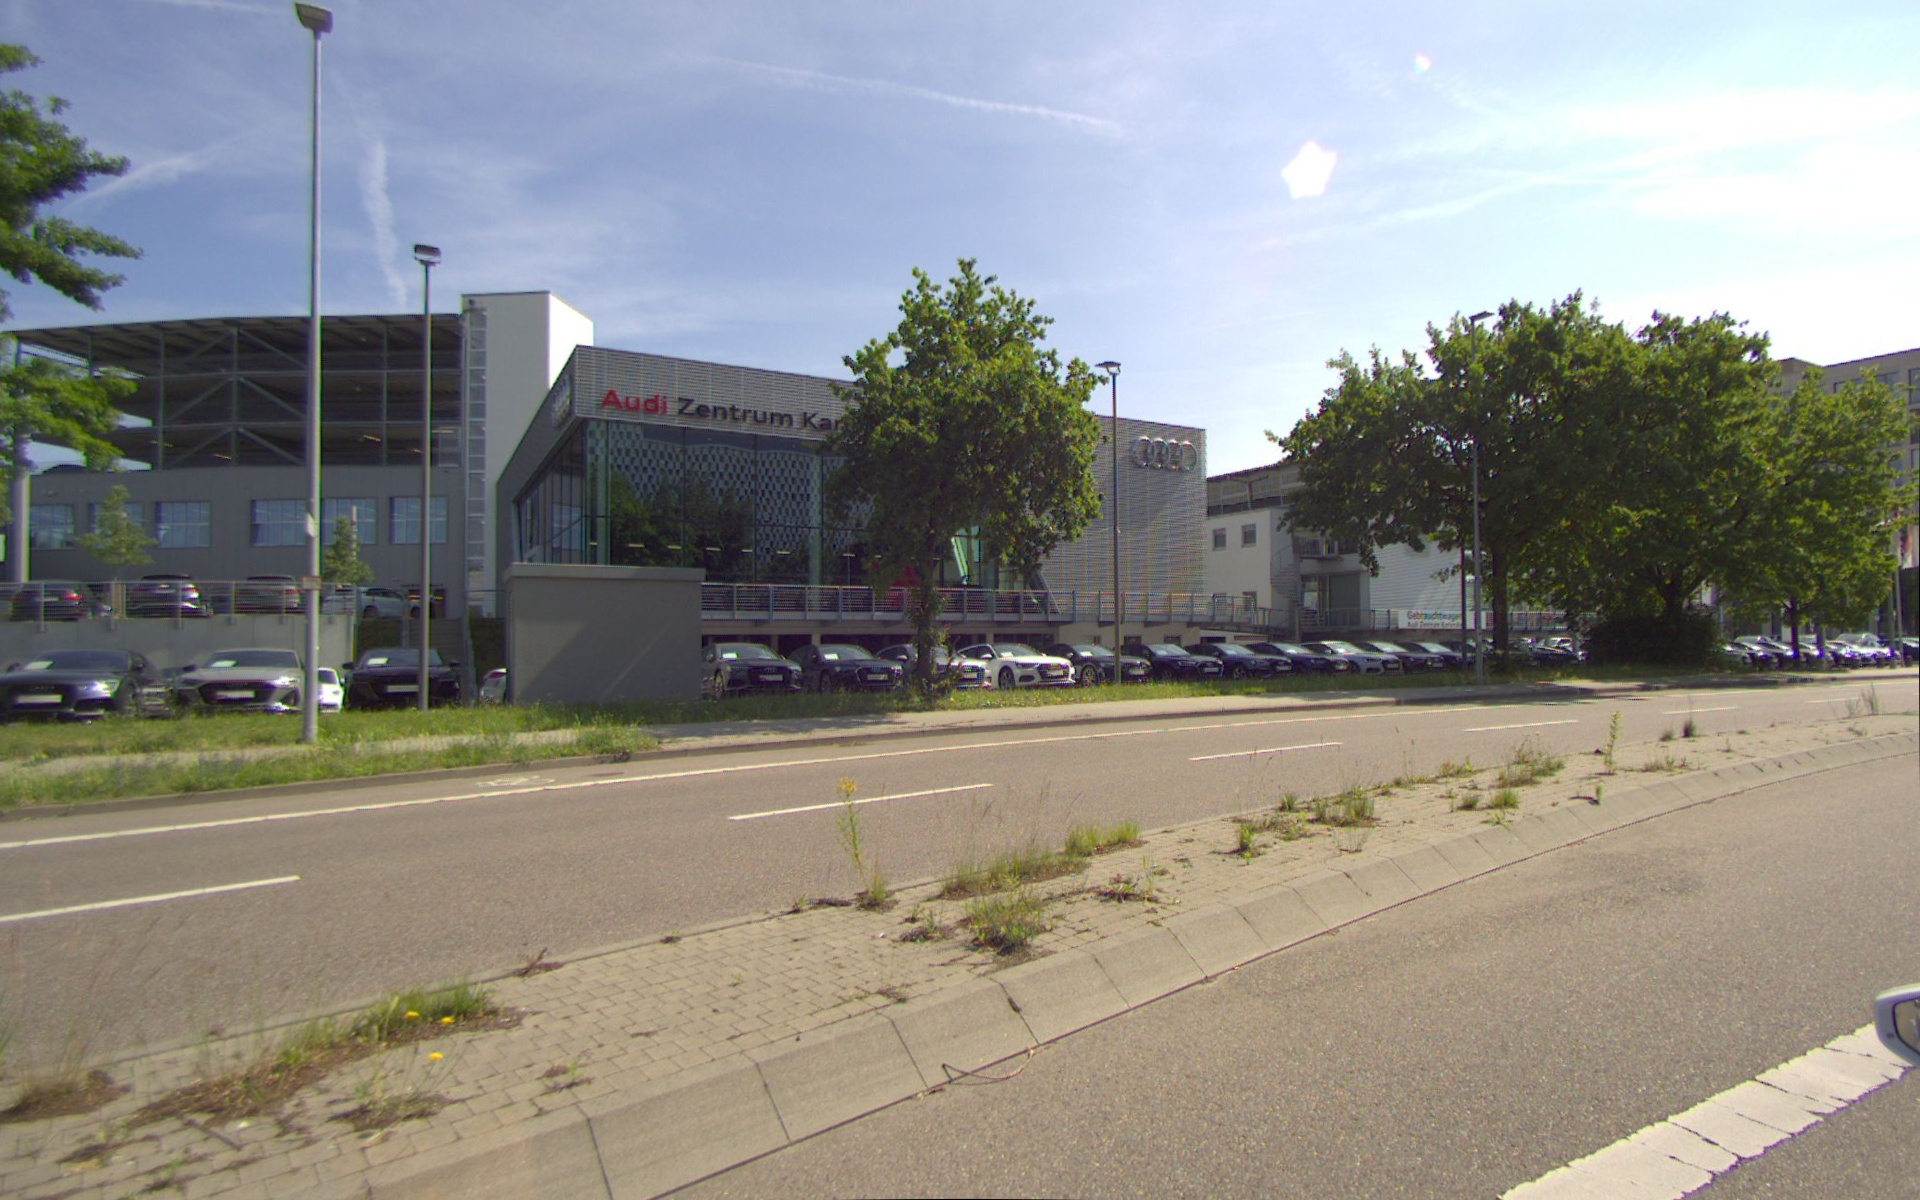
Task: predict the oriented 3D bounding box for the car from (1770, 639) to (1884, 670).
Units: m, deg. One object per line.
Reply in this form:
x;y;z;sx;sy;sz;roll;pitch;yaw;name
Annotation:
43.706;2.770;50.721;1.824;1.350;3.864;0;-5;-26;car

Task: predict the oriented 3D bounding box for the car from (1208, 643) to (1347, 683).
9.993;2.026;31.894;1.678;1.047;4.089;1;-6;-31;car

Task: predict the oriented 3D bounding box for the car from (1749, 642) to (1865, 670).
41.446;2.768;49.222;1.886;1.181;3.864;0;-5;-26;car

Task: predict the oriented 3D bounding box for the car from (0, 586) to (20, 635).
-33.497;0.337;32.792;3.744;1.594;1.941;1;-1;-31;car

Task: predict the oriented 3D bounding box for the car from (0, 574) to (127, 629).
-26.382;0.079;29.683;2.027;1.515;3.969;1;-1;-30;car

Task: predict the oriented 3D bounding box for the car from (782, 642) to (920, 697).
-2.763;1.743;24.702;1.876;1.171;3.969;1;-6;-31;car

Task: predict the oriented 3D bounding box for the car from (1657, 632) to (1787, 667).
34.210;2.252;45.233;2.010;1.348;4.156;0;-5;-26;car

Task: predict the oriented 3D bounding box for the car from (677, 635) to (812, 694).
-5.106;1.541;23.395;1.876;1.171;3.969;1;-6;-31;car

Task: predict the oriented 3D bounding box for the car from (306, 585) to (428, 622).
-24.814;0.170;42.247;1.885;1.483;4.668;0;-1;9;car

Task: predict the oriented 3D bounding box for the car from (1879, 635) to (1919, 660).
55.044;2.661;57.222;1.620;1.375;3.581;0;-5;-28;car

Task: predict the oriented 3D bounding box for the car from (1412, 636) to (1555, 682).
19.530;2.240;37.640;2.027;1.460;4.288;1;-6;-30;car

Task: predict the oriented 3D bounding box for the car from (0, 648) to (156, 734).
-15.618;1.510;17.685;1.672;1.307;4.477;1;-3;-31;car

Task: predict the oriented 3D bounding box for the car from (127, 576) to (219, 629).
-24.171;0.112;30.976;1.648;1.515;3.969;1;-1;-30;car

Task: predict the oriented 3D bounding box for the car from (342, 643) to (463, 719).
-11.160;1.531;20.024;1.898;1.307;4.477;1;-3;-31;car

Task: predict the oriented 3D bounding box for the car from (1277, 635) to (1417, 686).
12.770;2.037;33.370;1.976;1.460;3.973;1;-6;-29;car

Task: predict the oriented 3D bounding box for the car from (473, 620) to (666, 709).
-9.081;1.450;23.396;3.953;1.901;1.984;1;-2;-30;car

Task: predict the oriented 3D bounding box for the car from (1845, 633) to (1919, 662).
52.497;2.653;56.326;1.844;1.483;3.862;0;-5;-28;car

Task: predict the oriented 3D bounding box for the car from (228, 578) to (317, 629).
-21.972;0.133;32.253;1.962;1.515;4.499;1;-1;-30;car

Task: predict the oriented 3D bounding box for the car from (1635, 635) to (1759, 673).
31.911;2.362;43.608;1.886;1.437;3.864;0;-5;-26;car

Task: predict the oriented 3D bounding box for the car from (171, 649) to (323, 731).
-13.283;1.598;18.981;1.981;1.307;4.477;1;-3;-31;car

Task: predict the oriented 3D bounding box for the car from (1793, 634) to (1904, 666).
45.955;2.614;52.043;1.725;1.382;3.864;0;-5;-26;car

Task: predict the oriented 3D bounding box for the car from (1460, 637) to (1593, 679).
21.822;2.265;38.854;1.976;1.376;3.973;1;-6;-29;car

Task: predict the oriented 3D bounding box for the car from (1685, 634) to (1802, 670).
36.159;2.435;46.473;1.638;1.437;3.864;0;-5;-26;car

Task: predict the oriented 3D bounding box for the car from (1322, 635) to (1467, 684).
14.955;2.103;34.825;1.976;1.460;4.233;1;-6;-29;car

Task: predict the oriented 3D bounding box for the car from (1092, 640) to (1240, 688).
5.984;1.904;29.630;1.933;1.205;4.155;1;-6;-31;car

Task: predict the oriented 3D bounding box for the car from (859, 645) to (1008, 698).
-0.776;1.876;26.015;2.063;1.171;4.155;1;-6;-31;car

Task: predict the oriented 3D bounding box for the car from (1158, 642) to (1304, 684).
8.286;1.973;31.030;1.933;1.091;4.155;1;-6;-31;car

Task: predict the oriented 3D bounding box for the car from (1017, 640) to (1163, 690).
3.582;1.870;28.413;1.933;1.205;4.155;1;-6;-31;car

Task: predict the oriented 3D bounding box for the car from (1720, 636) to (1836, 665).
38.962;2.435;47.924;1.771;1.167;3.864;0;-5;-26;car

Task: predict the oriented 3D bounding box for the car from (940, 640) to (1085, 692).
1.327;1.813;27.212;1.933;1.205;4.155;1;-6;-31;car

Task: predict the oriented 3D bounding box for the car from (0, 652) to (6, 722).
-17.667;1.526;16.524;1.898;1.307;4.477;1;-3;-31;car

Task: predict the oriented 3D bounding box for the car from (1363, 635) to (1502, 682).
17.034;2.162;36.407;1.976;1.460;4.125;1;-6;-29;car
